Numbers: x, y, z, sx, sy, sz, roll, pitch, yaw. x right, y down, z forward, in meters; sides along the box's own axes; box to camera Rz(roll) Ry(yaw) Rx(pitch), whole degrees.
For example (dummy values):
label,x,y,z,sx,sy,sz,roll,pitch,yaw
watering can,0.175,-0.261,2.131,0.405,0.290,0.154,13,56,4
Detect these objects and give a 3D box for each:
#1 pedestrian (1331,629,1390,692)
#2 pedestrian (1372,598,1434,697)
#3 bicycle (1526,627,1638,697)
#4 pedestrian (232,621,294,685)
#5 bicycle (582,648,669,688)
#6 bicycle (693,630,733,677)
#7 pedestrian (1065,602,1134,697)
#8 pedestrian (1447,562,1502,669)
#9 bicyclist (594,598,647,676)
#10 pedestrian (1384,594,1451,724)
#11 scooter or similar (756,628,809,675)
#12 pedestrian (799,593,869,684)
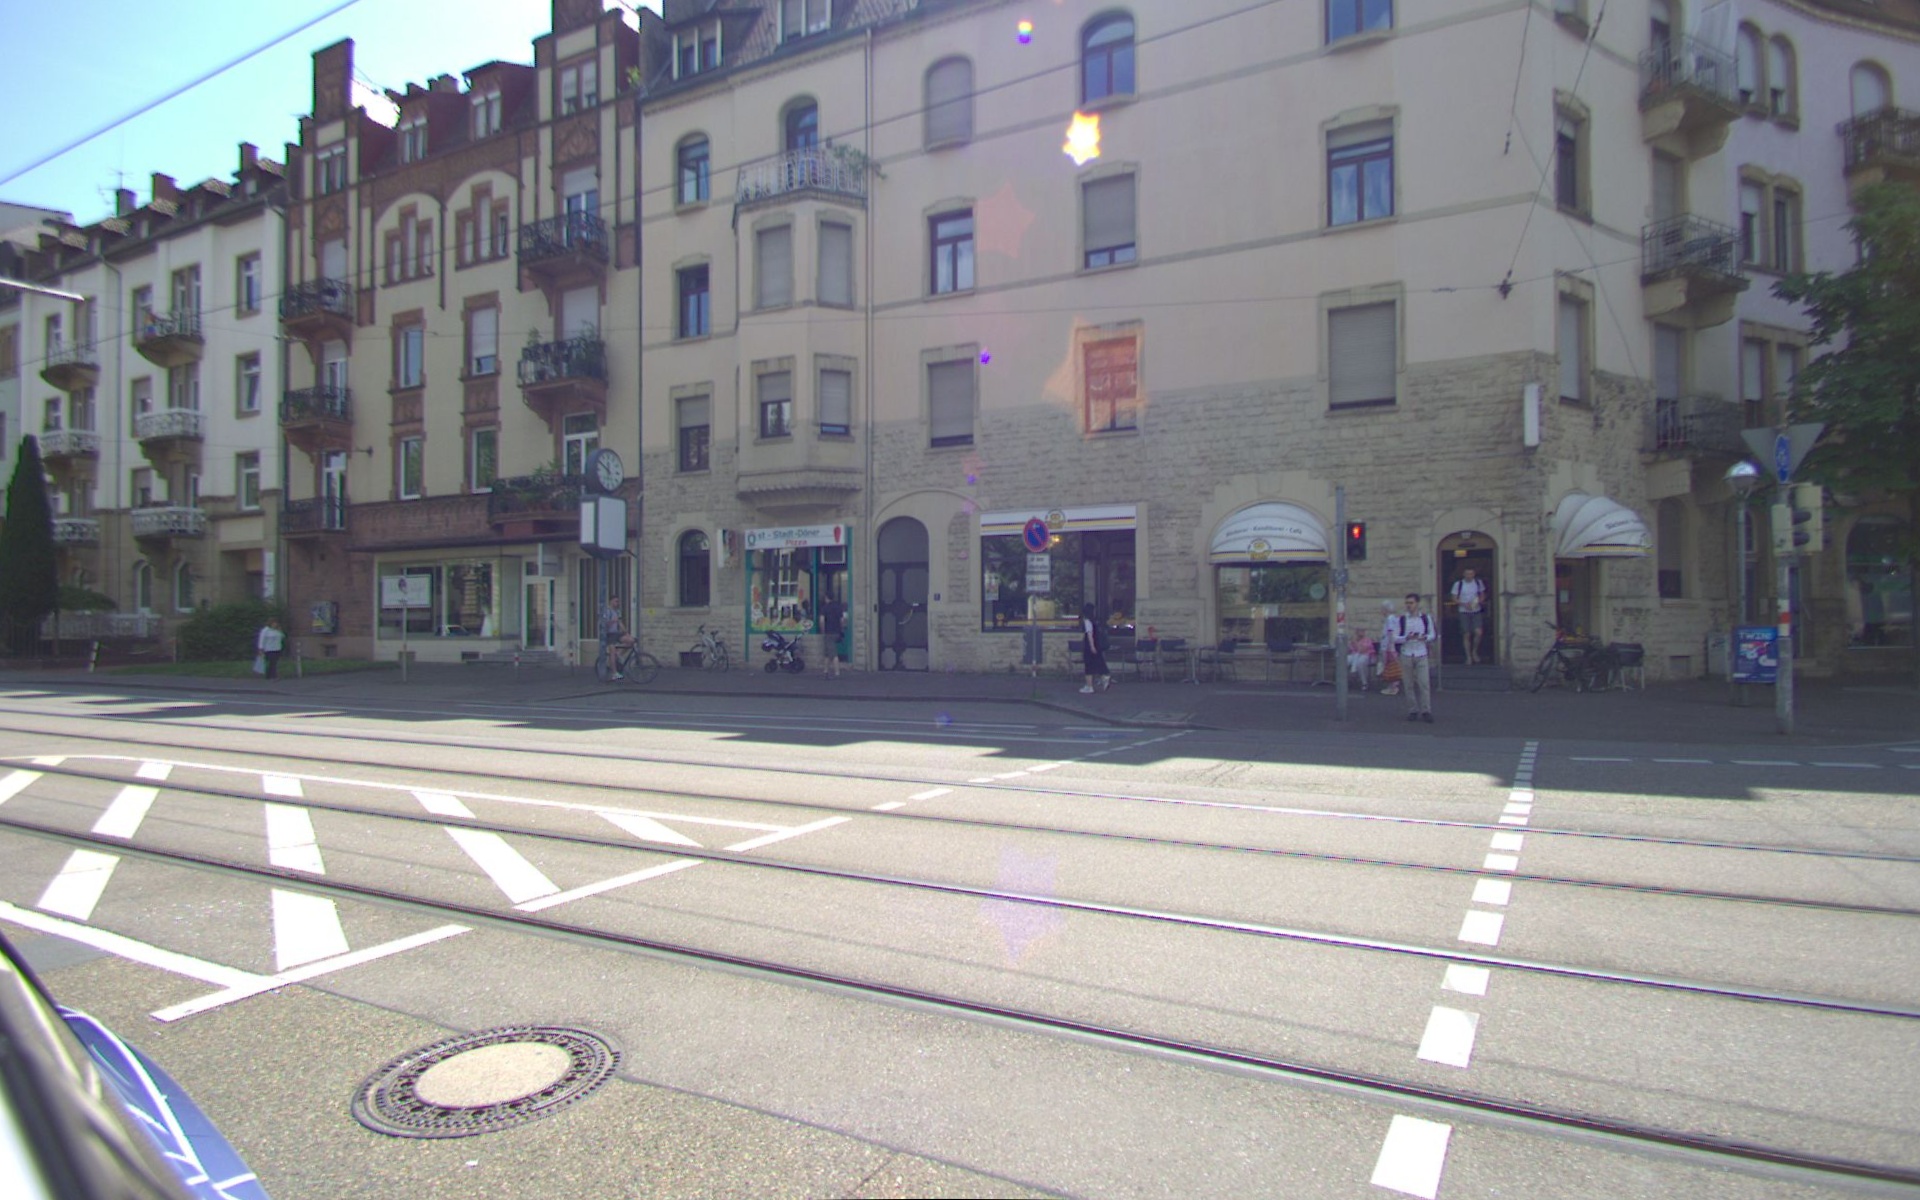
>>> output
label,x,y,z,sx,sy,sz,roll,pitch,yaw
pedestrian,7.190,1.067,18.153,0.879,1.086,0.910,-1,-2,28
pedestrian,7.484,0.794,17.093,0.914,1.607,0.802,-1,-2,26
bicycle,10.505,1.049,17.106,1.655,1.137,0.545,1,-2,-10
pedestrian,-17.364,1.301,25.218,0.979,1.554,0.896,-1,-2,26
bicycle,-7.353,1.476,22.218,1.810,0.824,0.748,-1,-2,26
bicycle,-6.085,1.309,24.871,0.365,1.074,1.467,0,0,-39
pedestrian,2.534,0.879,18.345,1.020,1.647,0.856,-1,1,25
pedestrian,9.222,0.278,18.170,0.816,1.866,0.756,-1,-2,26
bicyclist,-7.462,0.816,22.263,0.827,1.676,0.751,-1,-2,30
pedestrian,6.437,0.801,14.225,0.772,1.746,0.854,-1,0,29
scooter or similar,-4.247,1.222,24.140,1.190,1.052,0.698,-1,0,-13
pedestrian,-2.724,0.820,21.961,1.158,1.905,0.896,-1,1,26
